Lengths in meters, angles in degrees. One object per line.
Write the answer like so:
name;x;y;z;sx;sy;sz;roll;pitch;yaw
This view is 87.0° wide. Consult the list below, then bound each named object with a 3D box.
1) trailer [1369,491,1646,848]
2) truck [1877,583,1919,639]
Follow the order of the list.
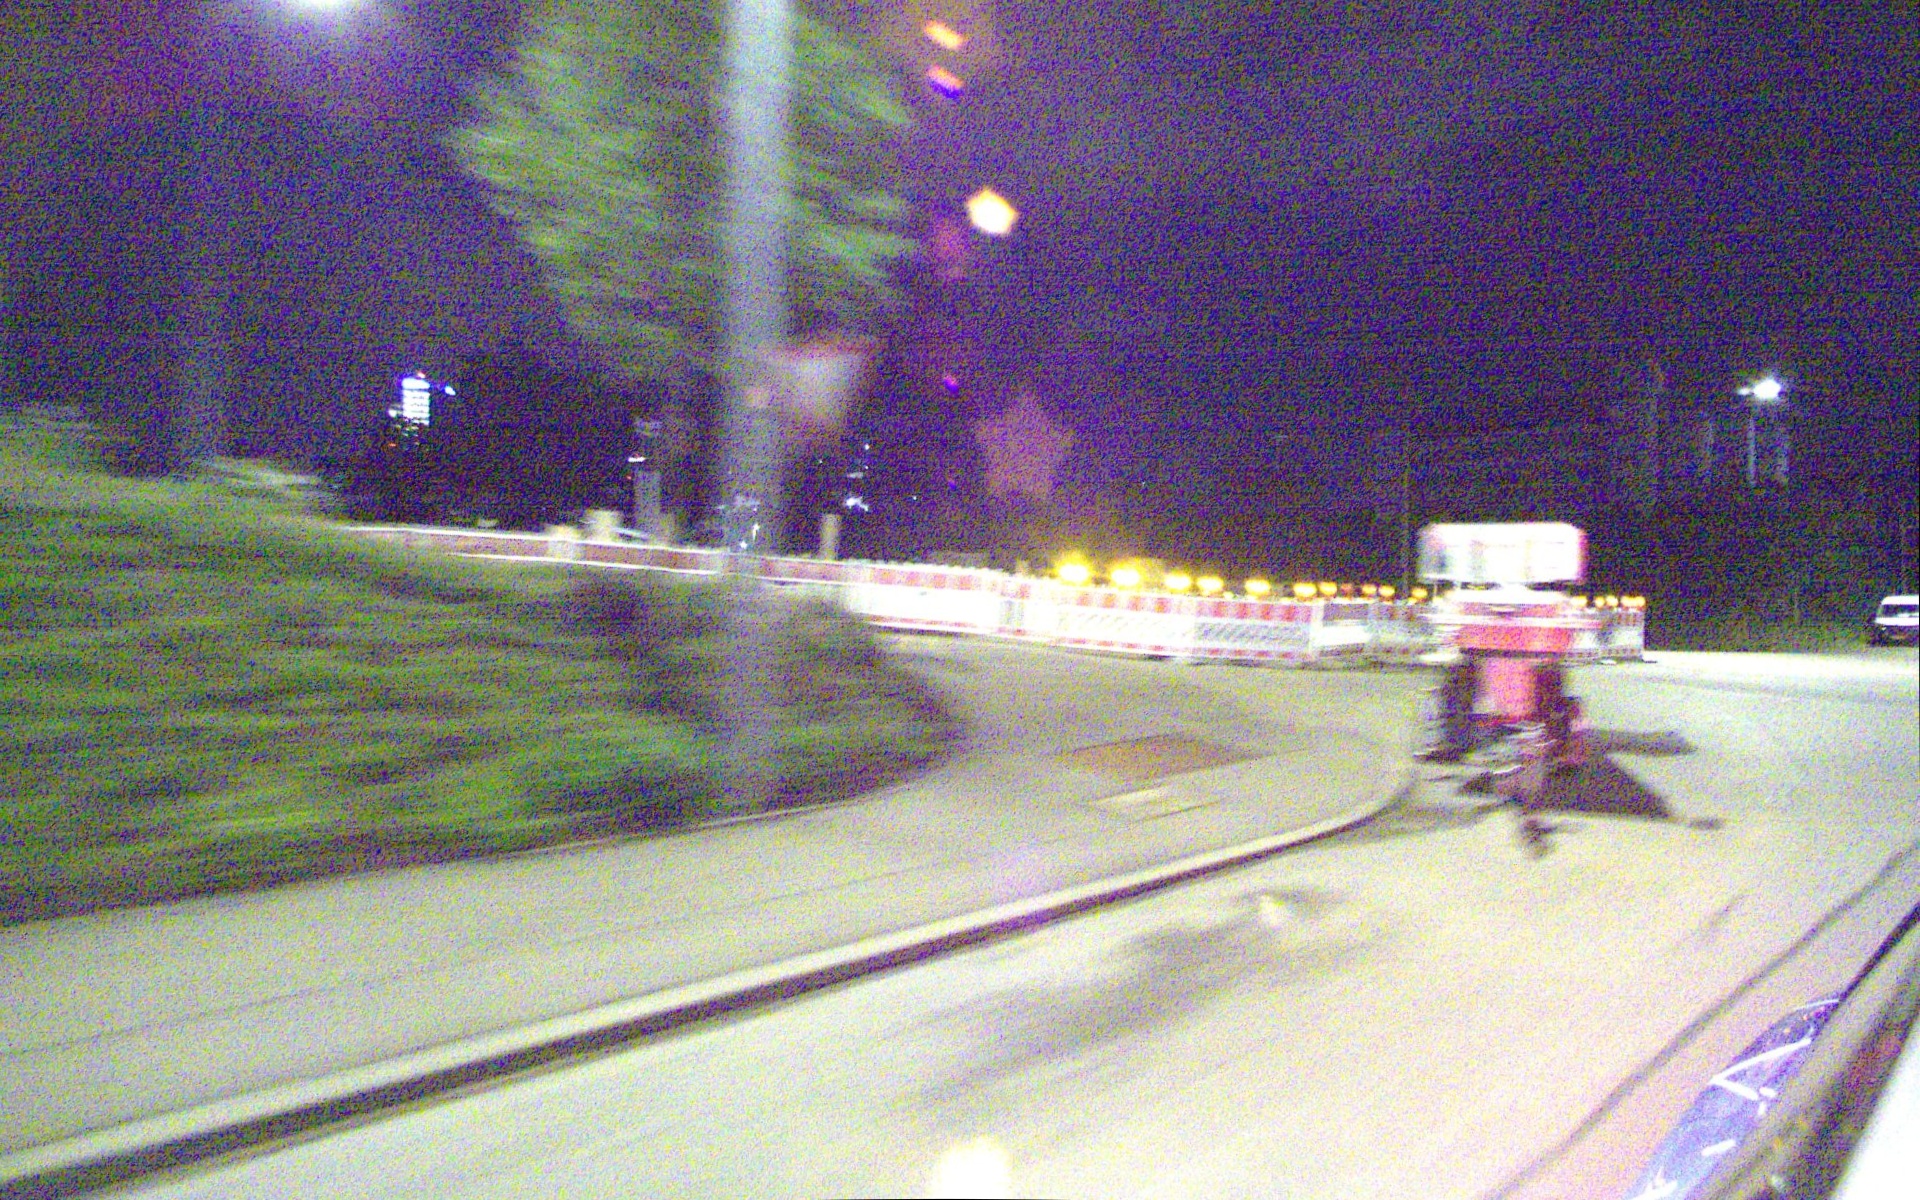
trailer;4.478;0.369;8.309;1.482;2.039;4.934;0;1;29
truck;46.833;0.498;49.083;6.288;2.602;2.406;0;1;-38
